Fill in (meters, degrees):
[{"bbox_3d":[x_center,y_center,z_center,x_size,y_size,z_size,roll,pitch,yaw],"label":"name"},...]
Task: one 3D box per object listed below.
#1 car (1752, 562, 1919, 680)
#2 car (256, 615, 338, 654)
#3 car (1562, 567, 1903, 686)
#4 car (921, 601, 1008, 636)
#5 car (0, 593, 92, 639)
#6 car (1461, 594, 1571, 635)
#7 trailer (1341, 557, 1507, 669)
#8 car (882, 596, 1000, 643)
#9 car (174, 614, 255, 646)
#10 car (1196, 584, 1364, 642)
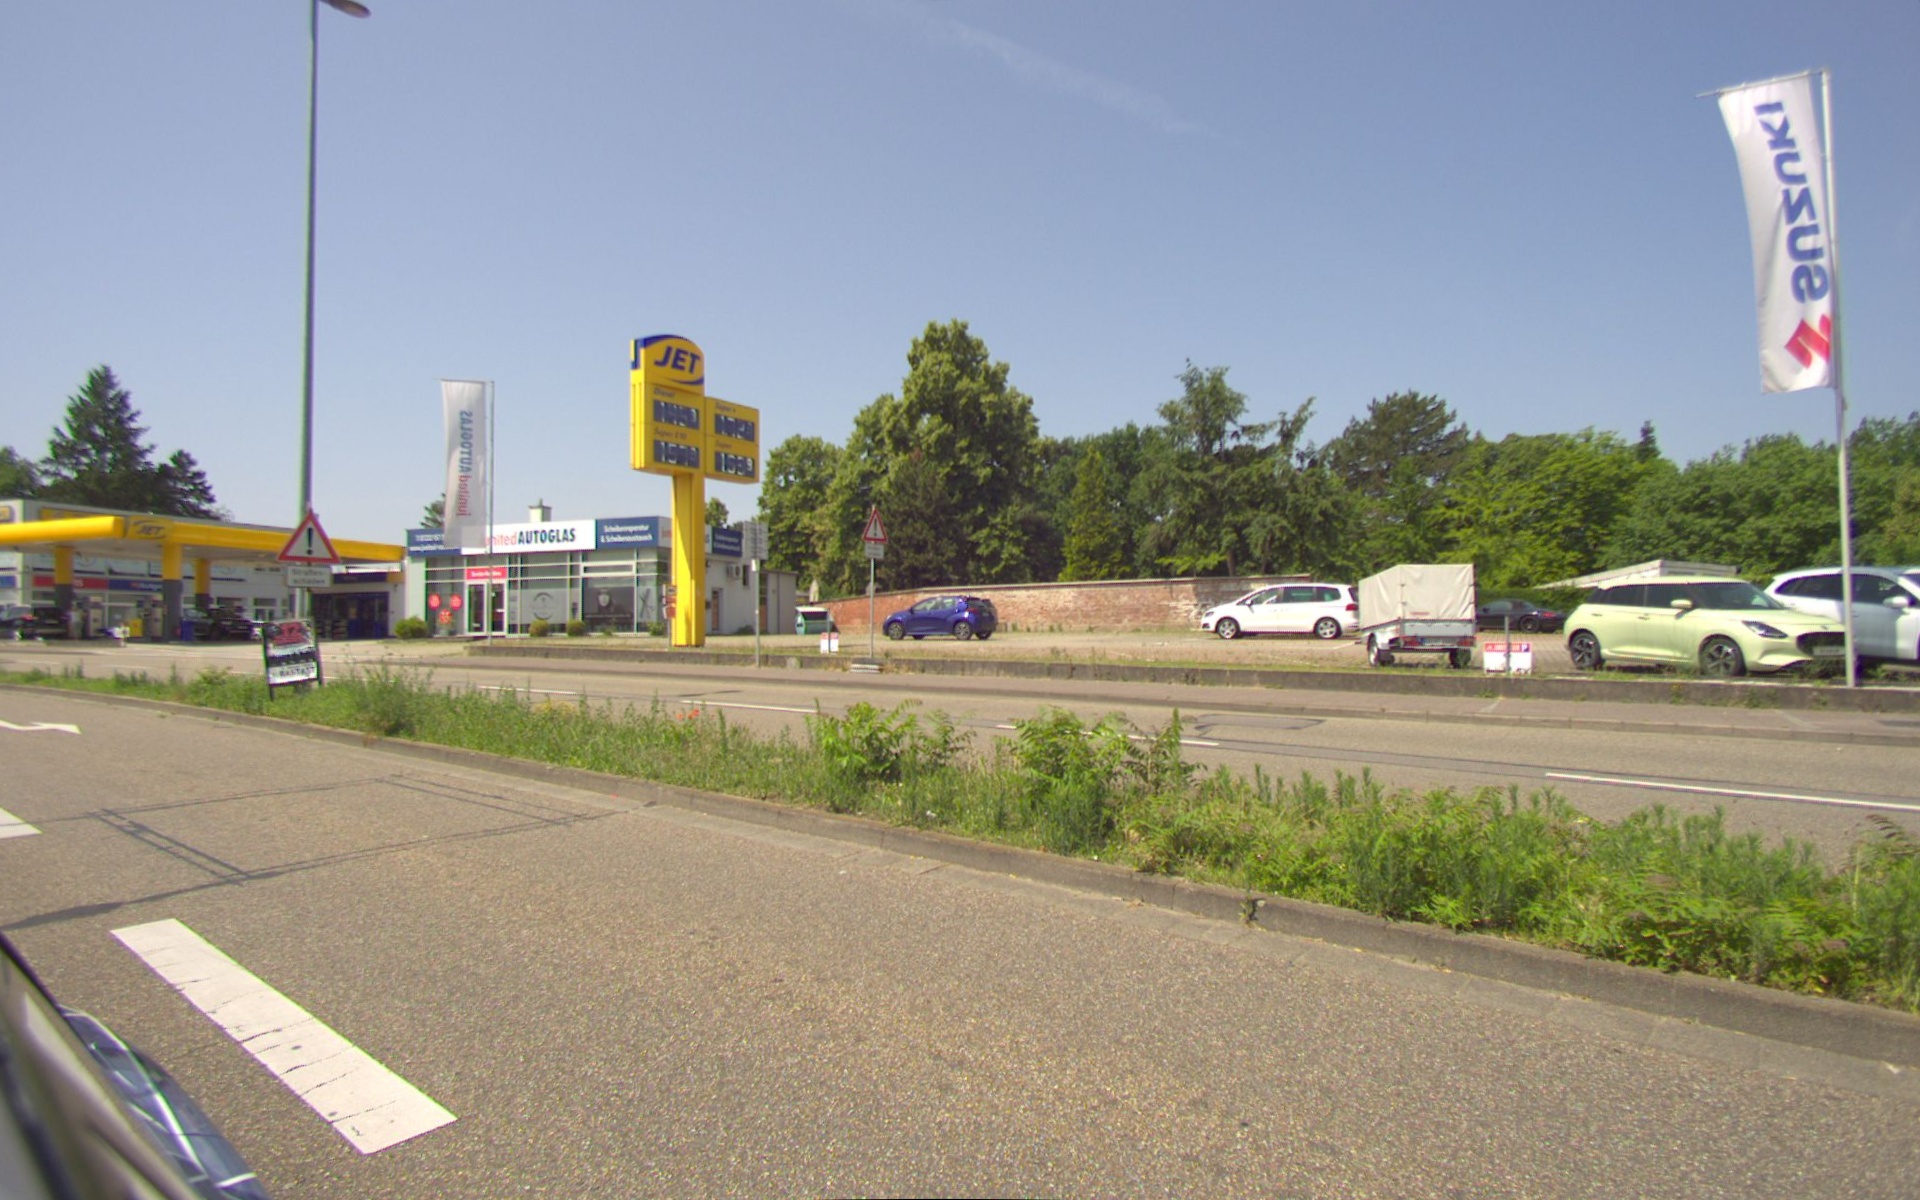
[{"bbox_3d":[13.568,0.263,13.971,1.889,1.552,3.967,-1,0,-5],"label":"car"},{"bbox_3d":[-36.407,1.880,55.580,3.978,2.029,1.983,-1,0,26],"label":"car"},{"bbox_3d":[11.162,0.340,15.005,1.729,1.521,3.828,-1,0,-10],"label":"car"},{"bbox_3d":[0.198,0.840,45.609,3.613,1.517,1.605,-1,-1,27],"label":"car"},{"bbox_3d":[-42.390,0.736,46.817,3.977,2.029,1.983,-1,0,25],"label":"car"},{"bbox_3d":[19.957,0.515,36.360,3.342,1.384,1.637,-1,0,34],"label":"car"},{"bbox_3d":[7.628,0.212,16.860,1.671,1.717,2.433,-1,0,2],"label":"trailer"},{"bbox_3d":[-0.651,0.665,34.113,3.613,1.517,1.679,-1,-1,27],"label":"car"},{"bbox_3d":[-38.725,1.535,52.538,4.190,1.554,1.642,-1,0,26],"label":"car"},{"bbox_3d":[9.764,0.420,30.989,4.731,1.662,1.680,-1,-1,25],"label":"car"}]
